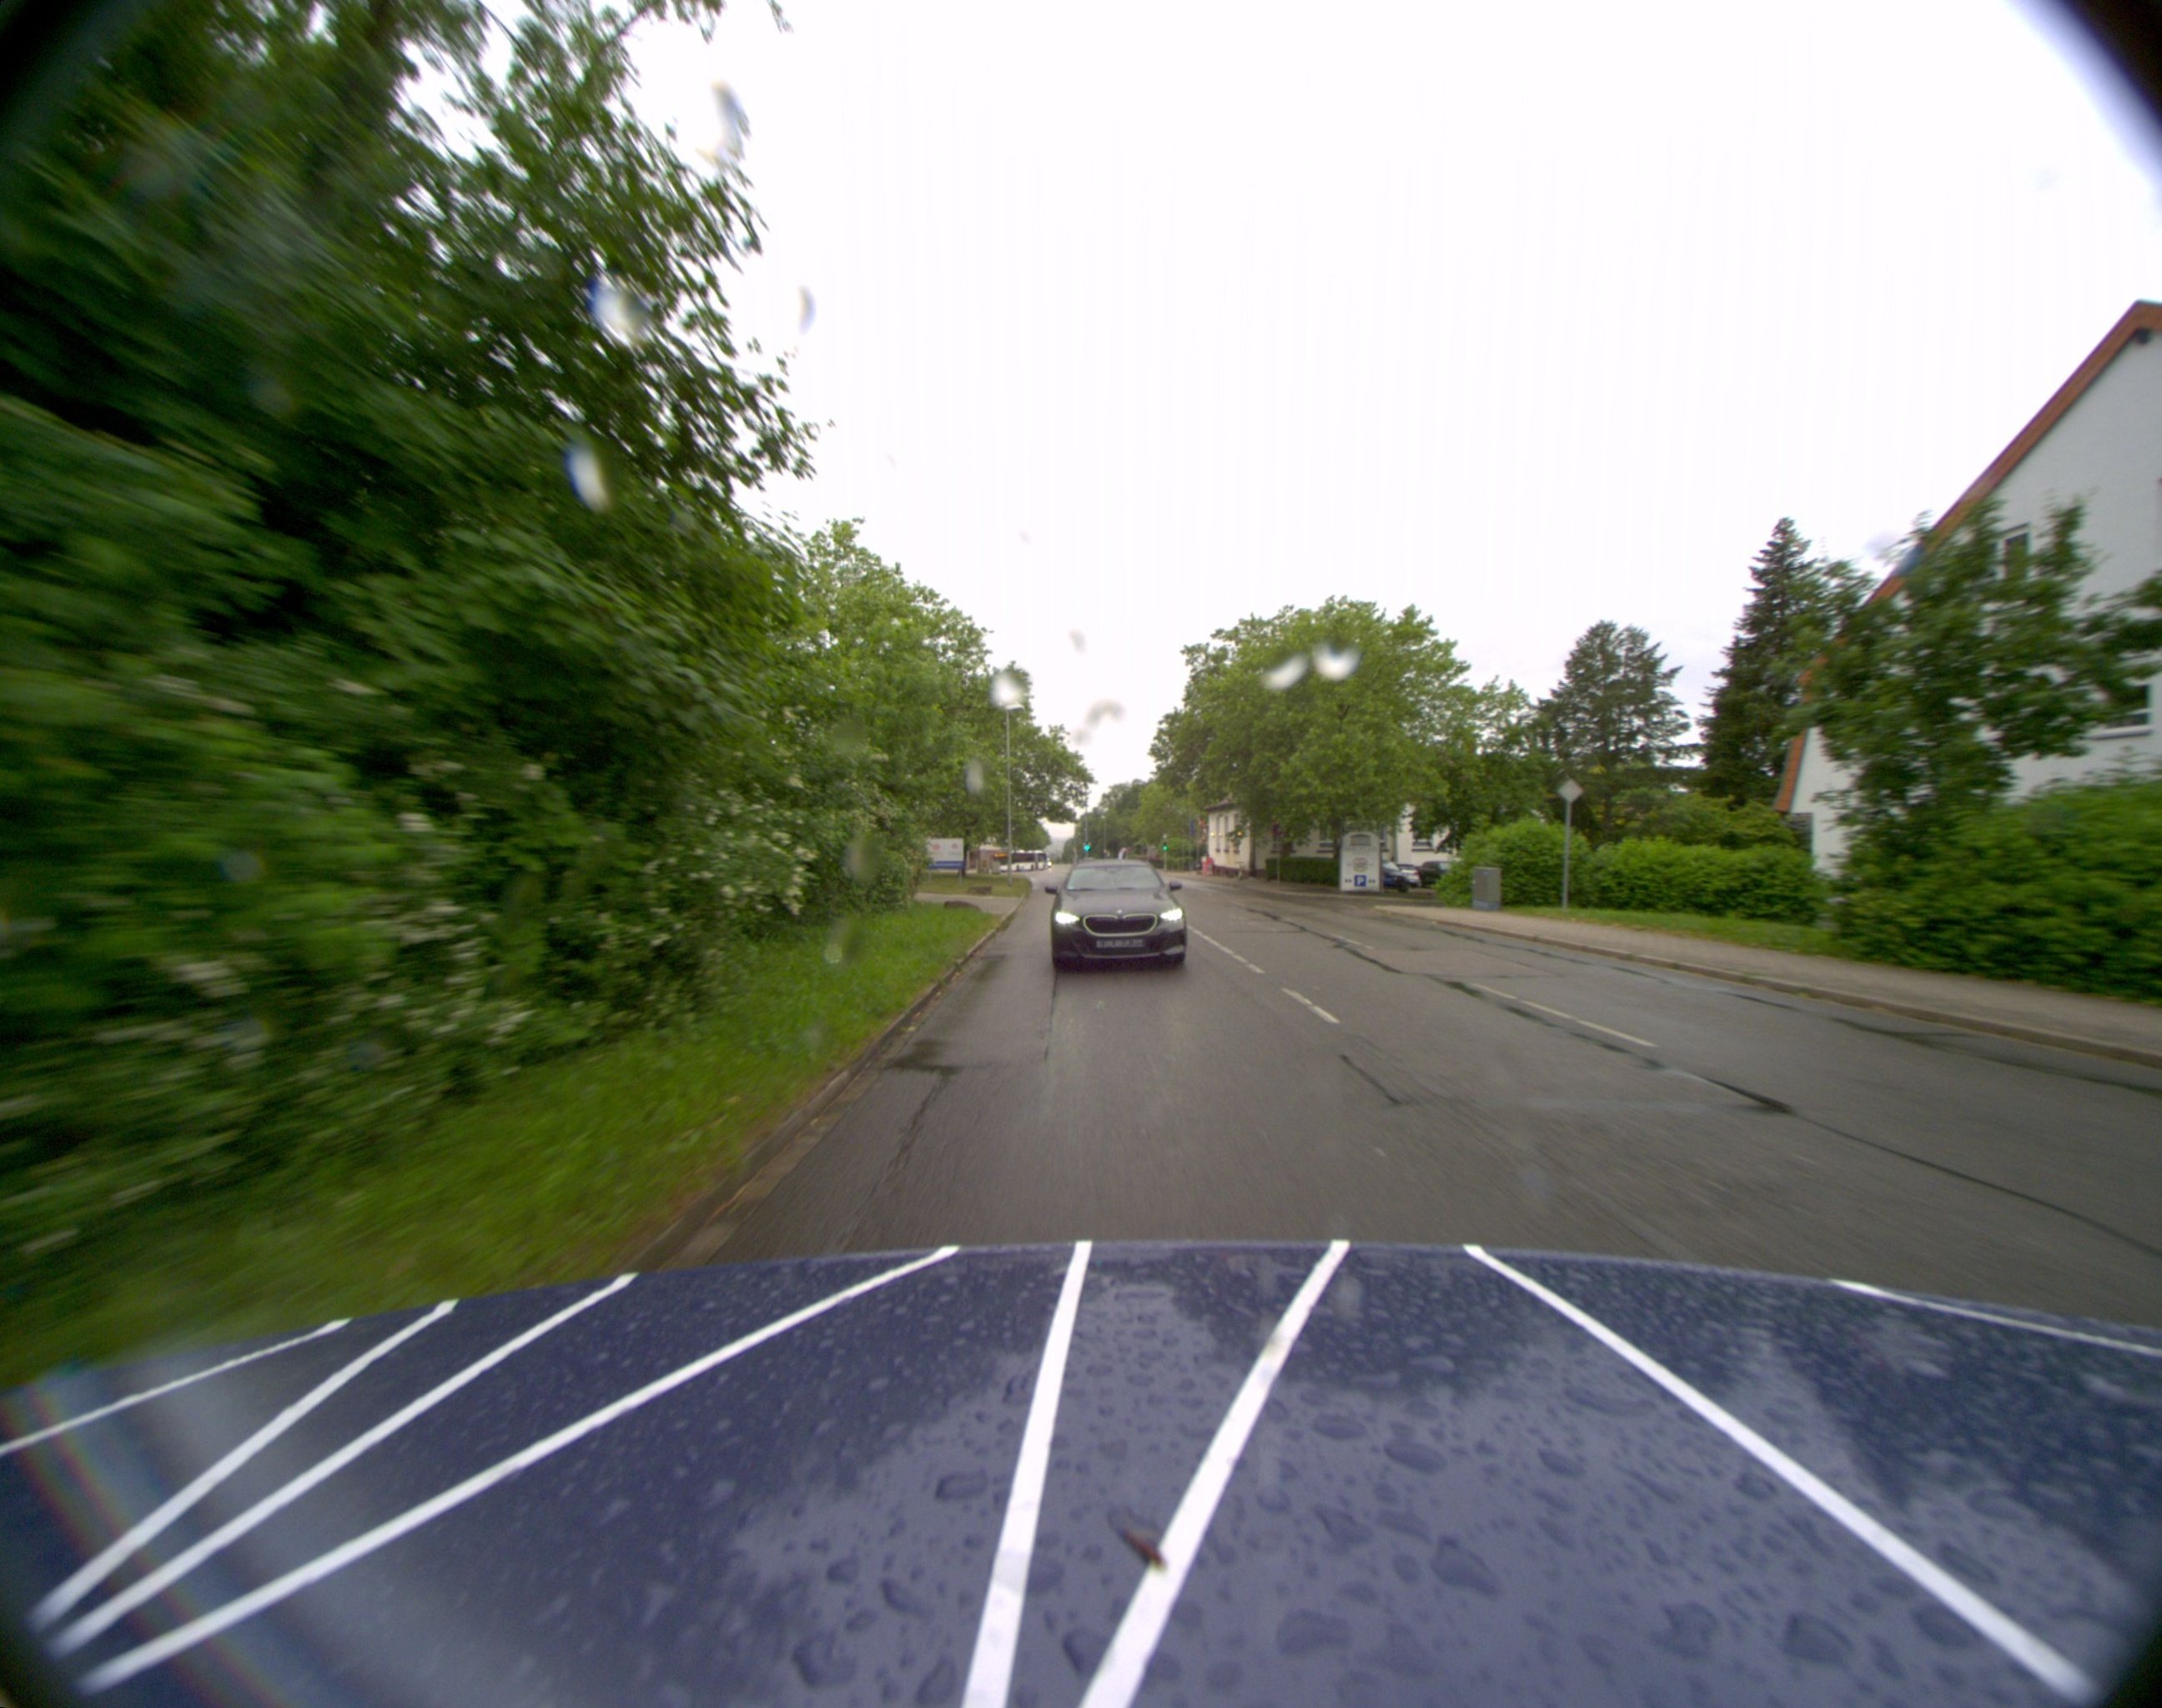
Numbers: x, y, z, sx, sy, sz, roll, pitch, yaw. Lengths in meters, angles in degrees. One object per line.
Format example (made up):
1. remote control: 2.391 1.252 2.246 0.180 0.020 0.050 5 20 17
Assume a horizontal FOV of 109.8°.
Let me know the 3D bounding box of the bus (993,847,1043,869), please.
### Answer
1. bus: -8.799 0.520 108.211 2.893 2.770 10.399 -3 1 20

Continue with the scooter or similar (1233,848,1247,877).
1. scooter or similar: 9.905 0.524 47.272 0.402 1.765 1.512 -1 1 -5

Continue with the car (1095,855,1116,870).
1. car: 2.709 0.996 86.114 1.999 1.420 4.388 5 -2 -1

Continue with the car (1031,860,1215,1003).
1. car: 0.363 0.904 10.841 1.999 1.586 4.146 -1 0 -5

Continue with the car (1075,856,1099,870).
1. car: 0.719 1.121 93.246 2.001 1.652 4.298 0 -1 -13

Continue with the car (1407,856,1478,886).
1. car: 21.299 0.962 44.949 1.999 1.675 4.257 1 0 -3

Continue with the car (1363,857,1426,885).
1. car: 18.462 0.964 44.972 1.756 1.433 4.283 3 1 -2
